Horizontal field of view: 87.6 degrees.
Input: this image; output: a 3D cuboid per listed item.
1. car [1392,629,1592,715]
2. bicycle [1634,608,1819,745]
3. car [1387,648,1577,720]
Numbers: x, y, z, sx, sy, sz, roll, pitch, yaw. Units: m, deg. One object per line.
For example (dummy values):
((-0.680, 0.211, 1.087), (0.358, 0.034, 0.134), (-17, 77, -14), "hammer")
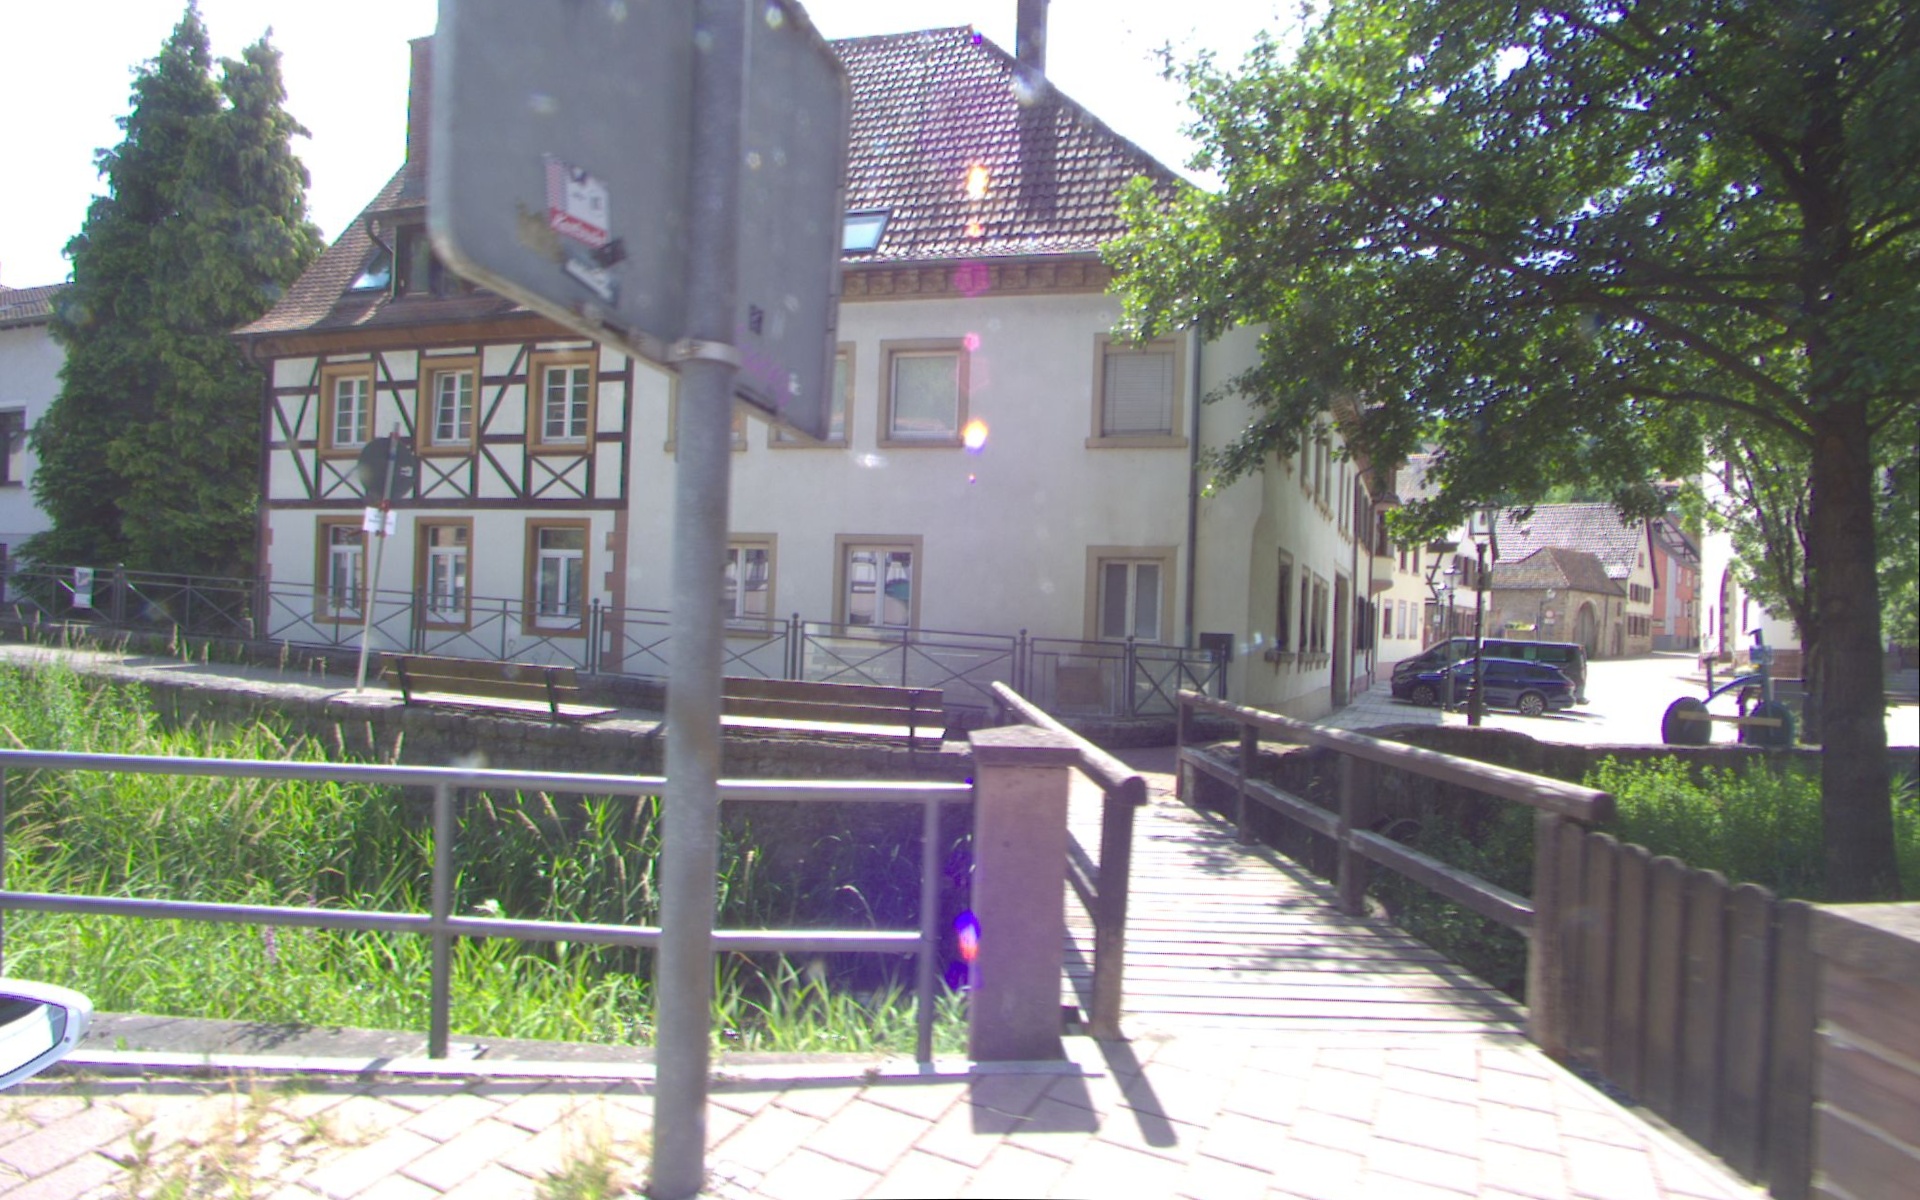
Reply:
((15.852, 2.082, 30.088), (5.041, 2.054, 1.952), (4, 1, 27), "car")
((12.063, 1.220, 15.782), (2.618, 2.037, 0.783), (2, -4, -13), "bicycle")
((14.332, 2.258, 27.706), (4.467, 1.501, 1.583), (4, 1, 27), "car")
